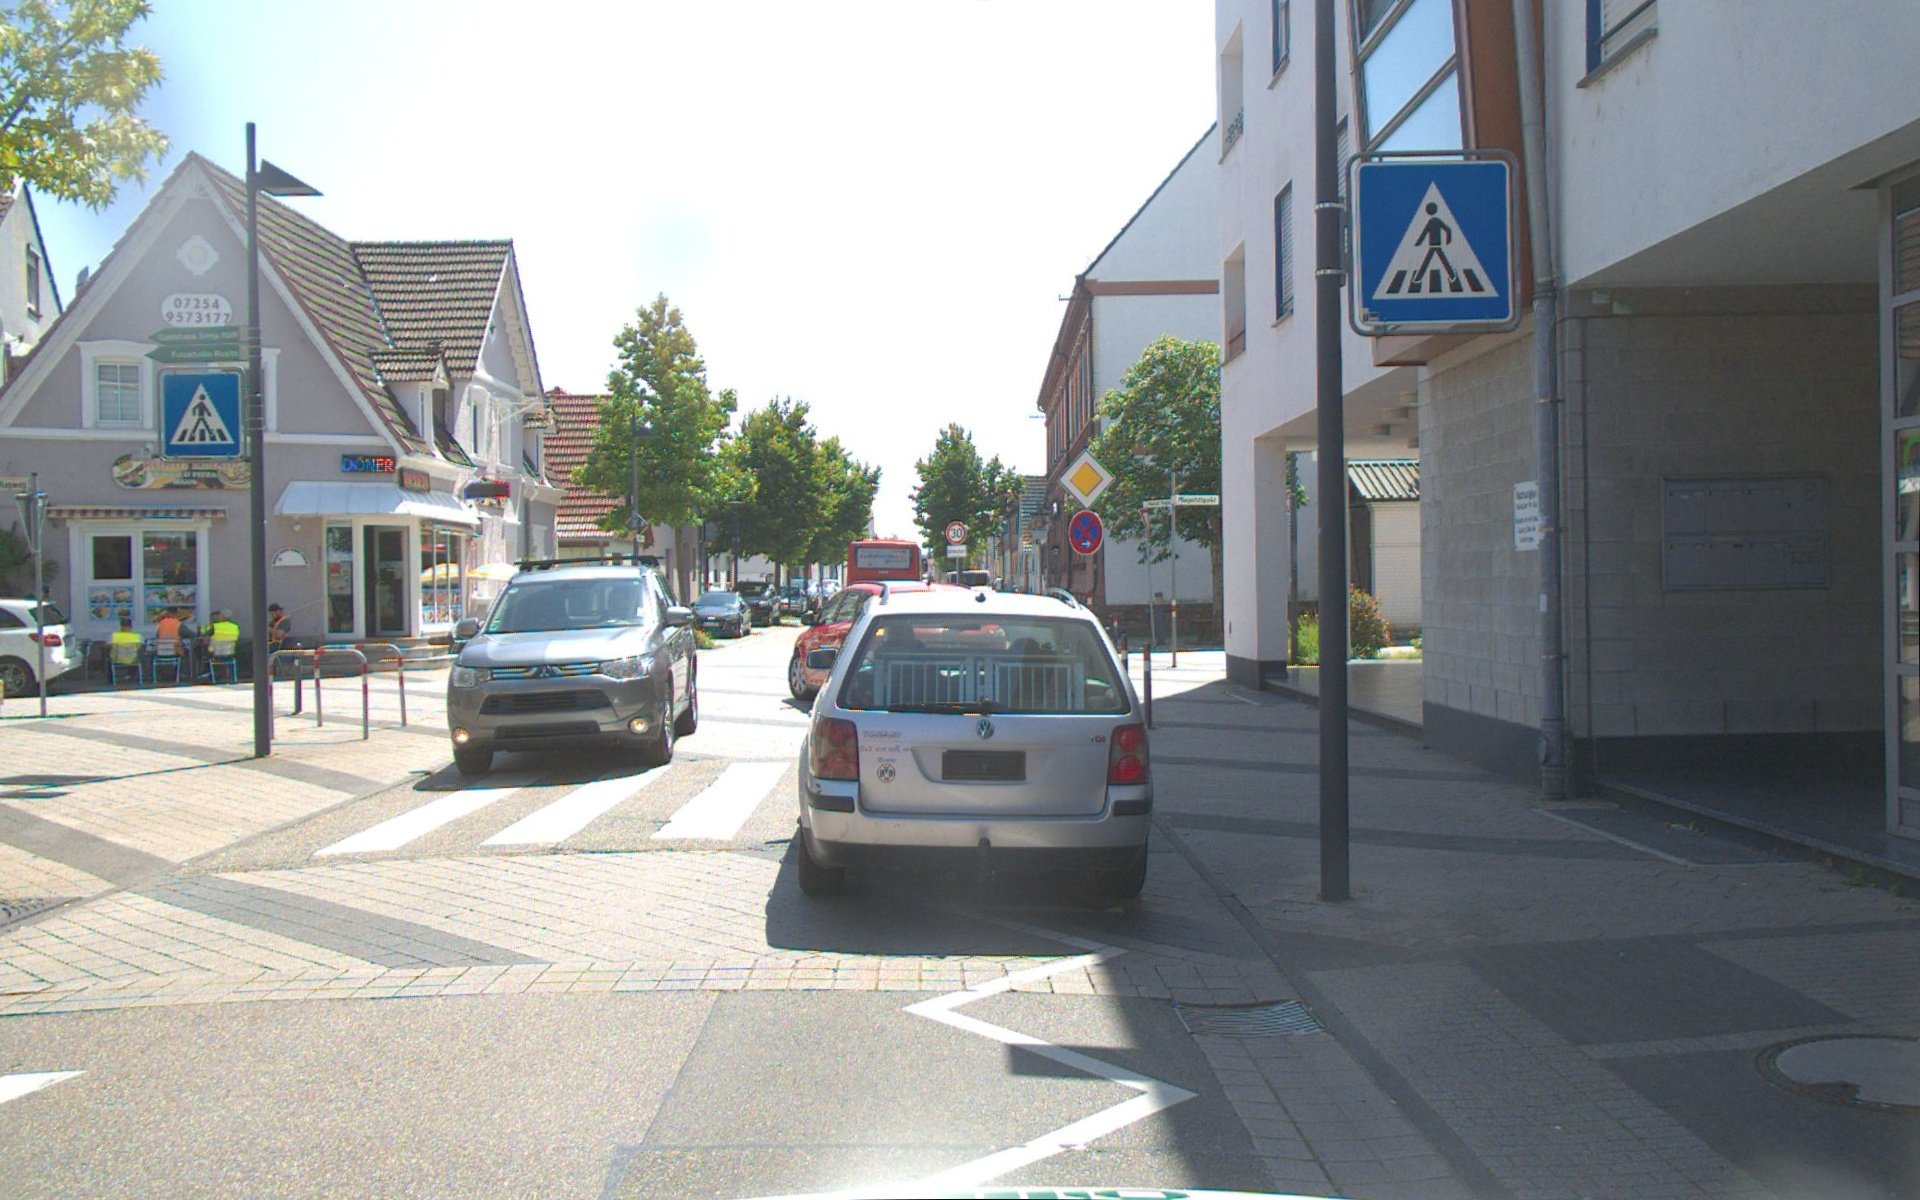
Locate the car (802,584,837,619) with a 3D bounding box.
[{"bbox_3d":[-8.411,0.079,99.424,1.775,2.030,3.999,-1,0,-1],"label":"car"}]

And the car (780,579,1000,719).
[{"bbox_3d":[-0.912,0.497,19.259,1.651,1.455,3.661,0,0,-18],"label":"car"}]

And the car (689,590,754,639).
[{"bbox_3d":[-7.676,0.433,53.515,1.572,1.463,4.064,-1,0,-1],"label":"car"}]

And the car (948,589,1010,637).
[{"bbox_3d":[0.531,0.362,49.059,1.684,1.332,3.625,-1,0,-1],"label":"car"}]

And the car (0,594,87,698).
[{"bbox_3d":[-16.298,0.762,26.464,3.855,1.572,1.511,-2,2,-18],"label":"car"}]

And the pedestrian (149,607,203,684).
[{"bbox_3d":[-13.706,0.788,28.911,0.631,1.311,0.776,1,0,-44],"label":"pedestrian"}]

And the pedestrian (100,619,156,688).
[{"bbox_3d":[-14.159,0.904,28.145,0.631,1.135,0.776,1,0,-44],"label":"pedestrian"}]

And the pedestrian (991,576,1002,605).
[{"bbox_3d":[2.170,-0.584,97.810,0.594,1.696,0.789,-1,0,-3],"label":"pedestrian"}]

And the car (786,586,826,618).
[{"bbox_3d":[-8.062,0.093,86.615,1.775,1.586,3.999,-1,0,-1],"label":"car"}]

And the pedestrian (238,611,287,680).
[{"bbox_3d":[-12.560,0.817,29.796,0.610,1.199,0.696,-1,0,-5],"label":"pedestrian"}]

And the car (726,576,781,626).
[{"bbox_3d":[-8.099,0.036,65.161,1.729,1.870,3.788,-1,0,-1],"label":"car"}]

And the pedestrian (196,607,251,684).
[{"bbox_3d":[-12.792,0.780,28.724,0.631,1.311,0.776,1,0,-44],"label":"pedestrian"}]

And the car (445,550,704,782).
[{"bbox_3d":[-3.308,0.489,14.925,1.642,1.746,4.228,-1,1,-5],"label":"car"}]

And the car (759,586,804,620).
[{"bbox_3d":[-8.607,0.114,79.955,1.775,1.586,3.999,-1,0,-1],"label":"car"}]

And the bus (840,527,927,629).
[{"bbox_3d":[-2.656,-0.746,61.193,2.684,3.356,12.704,-1,0,0],"label":"bus"}]

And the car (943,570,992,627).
[{"bbox_3d":[0.258,-0.079,64.383,1.751,2.118,3.625,-1,0,-1],"label":"car"}]

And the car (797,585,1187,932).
[{"bbox_3d":[0.108,0.668,8.934,1.643,1.455,3.679,1,0,-1],"label":"car"}]

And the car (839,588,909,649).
[{"bbox_3d":[-2.133,0.428,41.704,1.561,1.455,3.679,0,0,0],"label":"car"}]

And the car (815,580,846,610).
[{"bbox_3d":[-8.260,-0.346,105.567,1.685,1.833,3.999,-1,0,-1],"label":"car"}]
